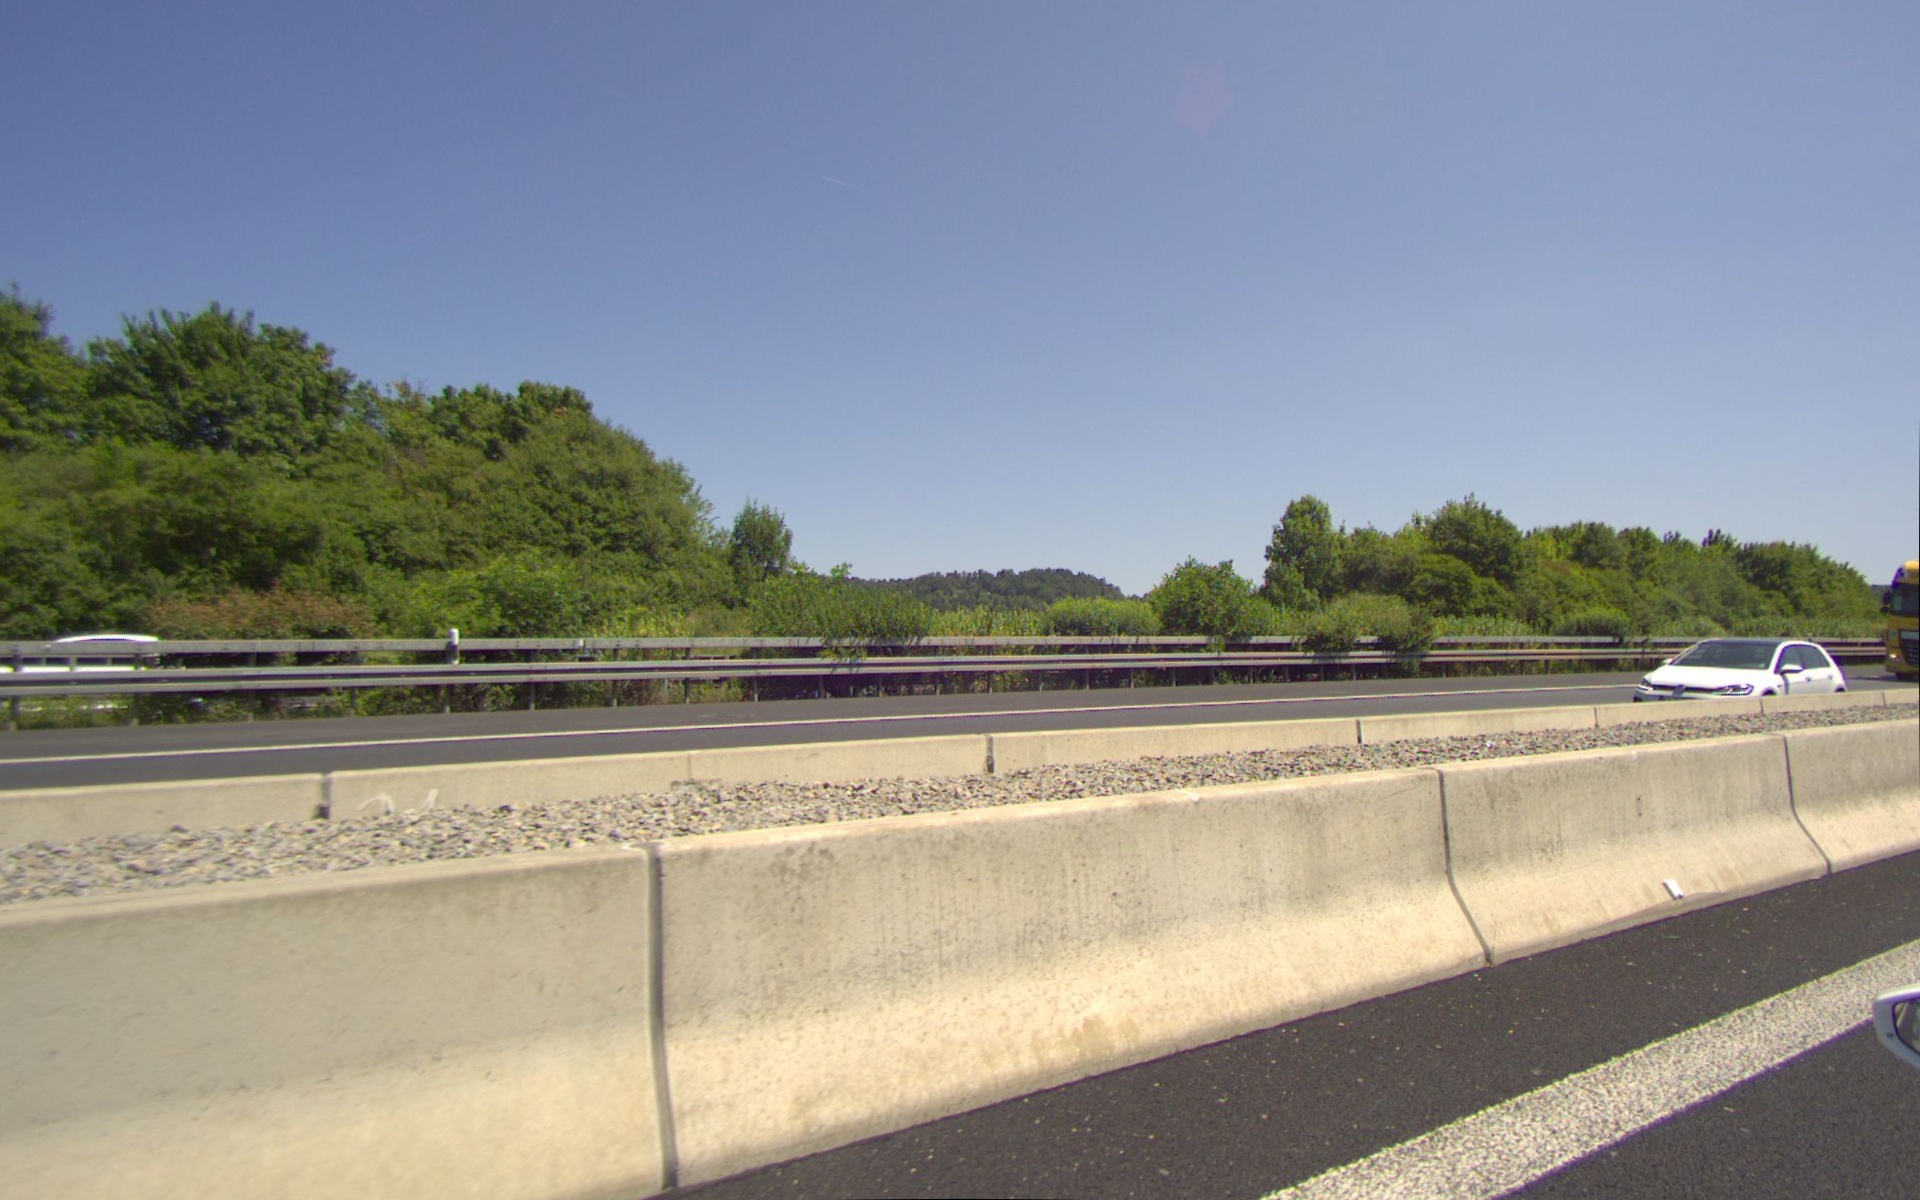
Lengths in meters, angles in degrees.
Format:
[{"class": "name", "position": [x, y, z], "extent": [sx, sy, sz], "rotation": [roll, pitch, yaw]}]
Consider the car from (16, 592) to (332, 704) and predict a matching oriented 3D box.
[{"class": "car", "position": [-14.385, 0.874, 18.793], "extent": [4.379, 1.882, 1.984], "rotation": [1, -2, -31]}]

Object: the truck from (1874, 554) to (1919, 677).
[{"class": "truck", "position": [31.895, 0.556, 31.977], "extent": [4.806, 3.804, 2.738], "rotation": [2, -1, -29]}]

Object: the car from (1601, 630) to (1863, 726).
[{"class": "car", "position": [13.122, 1.237, 17.019], "extent": [4.608, 1.392, 1.984], "rotation": [1, -1, -31]}]
